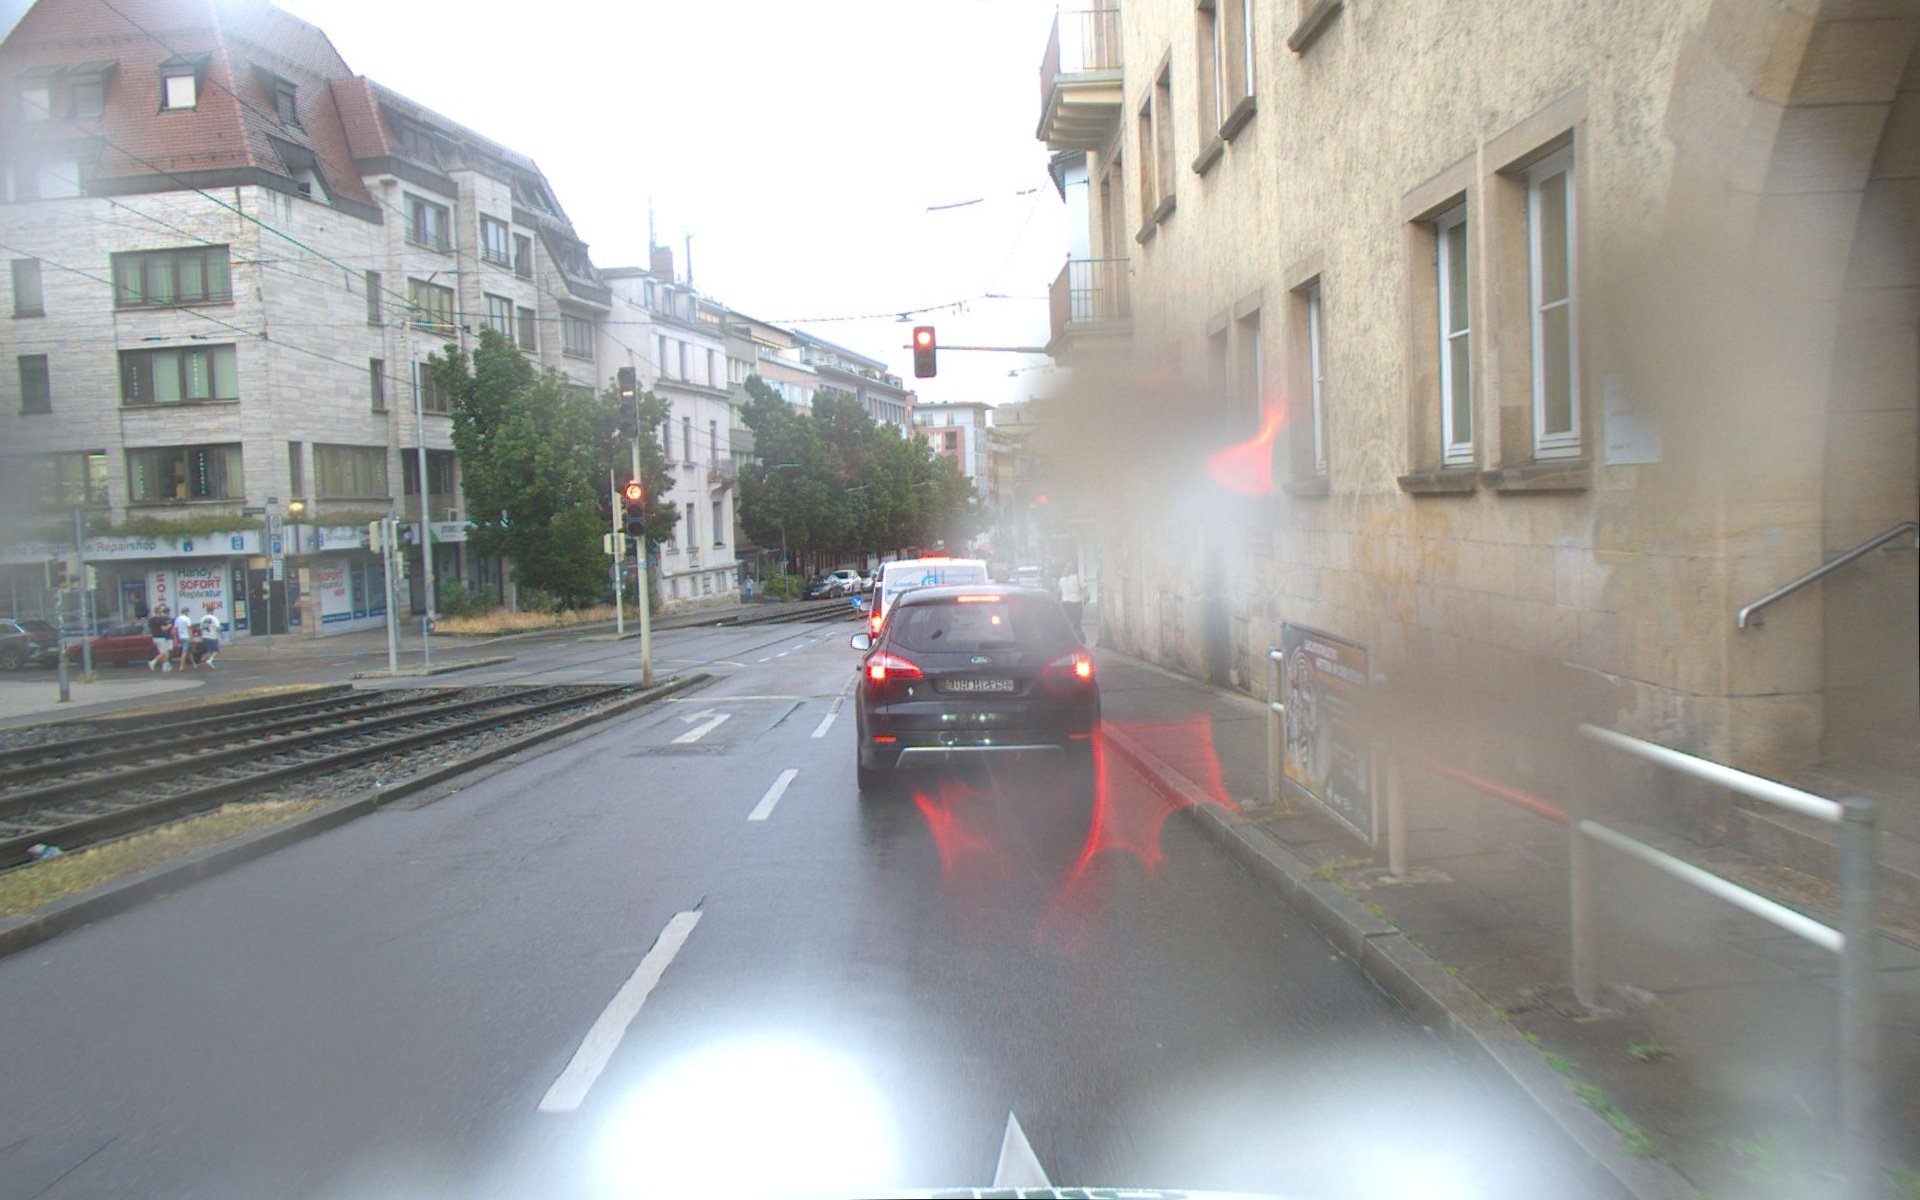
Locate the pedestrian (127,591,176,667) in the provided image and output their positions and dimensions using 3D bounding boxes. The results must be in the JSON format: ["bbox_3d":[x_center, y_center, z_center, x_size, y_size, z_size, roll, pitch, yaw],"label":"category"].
[{"bbox_3d":[-22.433,0.801,45.884,0.923,2.048,0.764,-2,0,-5],"label":"pedestrian"}]

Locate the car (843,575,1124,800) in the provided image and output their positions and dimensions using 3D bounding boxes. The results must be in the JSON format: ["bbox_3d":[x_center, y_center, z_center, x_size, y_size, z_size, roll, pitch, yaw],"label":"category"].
[{"bbox_3d":[0.235,0.557,13.089,1.880,1.505,4.002,0,1,2],"label":"car"}]

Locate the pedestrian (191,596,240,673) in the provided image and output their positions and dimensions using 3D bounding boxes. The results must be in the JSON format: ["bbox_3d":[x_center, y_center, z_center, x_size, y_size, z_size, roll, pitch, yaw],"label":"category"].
[{"bbox_3d":[-20.510,0.950,45.560,0.922,2.048,0.765,-2,0,-1],"label":"pedestrian"}]

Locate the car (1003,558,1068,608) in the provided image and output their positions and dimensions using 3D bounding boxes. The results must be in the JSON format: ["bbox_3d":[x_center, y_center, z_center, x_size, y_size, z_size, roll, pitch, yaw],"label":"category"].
[{"bbox_3d":[2.936,-0.668,63.537,1.951,1.803,4.004,-2,1,10],"label":"car"}]

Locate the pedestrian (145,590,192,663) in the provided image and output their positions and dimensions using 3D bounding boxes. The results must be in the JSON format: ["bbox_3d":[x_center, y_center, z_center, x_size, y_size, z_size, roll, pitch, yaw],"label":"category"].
[{"bbox_3d":[-22.623,0.748,47.283,0.923,2.048,0.764,-2,0,-5],"label":"pedestrian"}]

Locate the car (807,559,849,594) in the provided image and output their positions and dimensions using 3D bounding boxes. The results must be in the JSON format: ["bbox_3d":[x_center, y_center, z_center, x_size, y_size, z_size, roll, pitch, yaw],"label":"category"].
[{"bbox_3d":[-8.049,-1.423,101.096,1.952,2.048,4.002,-2,0,4],"label":"car"}]

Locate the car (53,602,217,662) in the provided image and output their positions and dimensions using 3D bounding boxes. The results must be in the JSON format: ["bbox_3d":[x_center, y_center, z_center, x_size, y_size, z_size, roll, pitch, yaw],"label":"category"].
[{"bbox_3d":[-24.955,0.964,50.086,4.045,1.596,1.825,-2,0,8],"label":"car"}]

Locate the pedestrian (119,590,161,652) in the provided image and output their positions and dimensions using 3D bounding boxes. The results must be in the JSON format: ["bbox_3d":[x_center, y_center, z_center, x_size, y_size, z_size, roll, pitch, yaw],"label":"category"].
[{"bbox_3d":[-27.409,0.698,55.319,0.887,1.965,0.825,-3,2,-3],"label":"pedestrian"}]

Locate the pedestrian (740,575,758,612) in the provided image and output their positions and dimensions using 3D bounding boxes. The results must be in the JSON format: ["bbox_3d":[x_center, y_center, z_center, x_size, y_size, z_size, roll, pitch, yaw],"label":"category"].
[{"bbox_3d":[-11.833,-0.374,92.691,0.925,2.048,0.763,-2,0,-11],"label":"pedestrian"}]

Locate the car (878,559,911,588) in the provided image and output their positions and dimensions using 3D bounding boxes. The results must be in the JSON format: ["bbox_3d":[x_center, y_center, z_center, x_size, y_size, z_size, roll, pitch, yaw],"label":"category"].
[{"bbox_3d":[-4.940,-2.018,125.140,1.952,2.048,4.002,-2,0,4],"label":"car"}]

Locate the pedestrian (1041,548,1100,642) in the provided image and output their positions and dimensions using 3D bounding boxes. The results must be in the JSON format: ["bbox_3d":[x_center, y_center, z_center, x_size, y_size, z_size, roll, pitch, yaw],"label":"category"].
[{"bbox_3d":[2.201,-0.101,33.151,1.024,1.826,0.901,-2,0,-3],"label":"pedestrian"}]

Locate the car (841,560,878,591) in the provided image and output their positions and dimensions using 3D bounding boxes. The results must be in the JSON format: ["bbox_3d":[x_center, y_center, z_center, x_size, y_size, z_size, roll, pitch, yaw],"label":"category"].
[{"bbox_3d":[-6.915,-1.680,113.745,1.952,2.048,4.002,-2,0,4],"label":"car"}]

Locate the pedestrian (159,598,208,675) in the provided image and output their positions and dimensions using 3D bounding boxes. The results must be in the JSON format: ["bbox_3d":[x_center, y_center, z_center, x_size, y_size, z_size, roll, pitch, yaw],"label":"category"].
[{"bbox_3d":[-21.444,0.997,45.685,0.923,2.048,0.764,-2,0,-5],"label":"pedestrian"}]

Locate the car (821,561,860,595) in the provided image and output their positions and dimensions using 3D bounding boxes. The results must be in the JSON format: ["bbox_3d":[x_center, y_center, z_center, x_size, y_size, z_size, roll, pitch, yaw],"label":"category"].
[{"bbox_3d":[-7.733,-1.425,107.398,1.952,2.048,4.002,-2,0,4],"label":"car"}]

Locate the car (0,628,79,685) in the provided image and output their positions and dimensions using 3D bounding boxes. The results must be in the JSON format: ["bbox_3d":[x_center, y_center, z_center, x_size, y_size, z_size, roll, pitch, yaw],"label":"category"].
[{"bbox_3d":[-29.643,1.776,50.956,4.045,1.596,1.825,-2,0,8],"label":"car"}]

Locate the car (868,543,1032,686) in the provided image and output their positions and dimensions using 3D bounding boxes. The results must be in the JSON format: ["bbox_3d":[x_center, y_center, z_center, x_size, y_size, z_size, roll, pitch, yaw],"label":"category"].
[{"bbox_3d":[-0.171,0.164,24.114,2.094,1.775,4.217,-3,1,-1],"label":"car"}]
